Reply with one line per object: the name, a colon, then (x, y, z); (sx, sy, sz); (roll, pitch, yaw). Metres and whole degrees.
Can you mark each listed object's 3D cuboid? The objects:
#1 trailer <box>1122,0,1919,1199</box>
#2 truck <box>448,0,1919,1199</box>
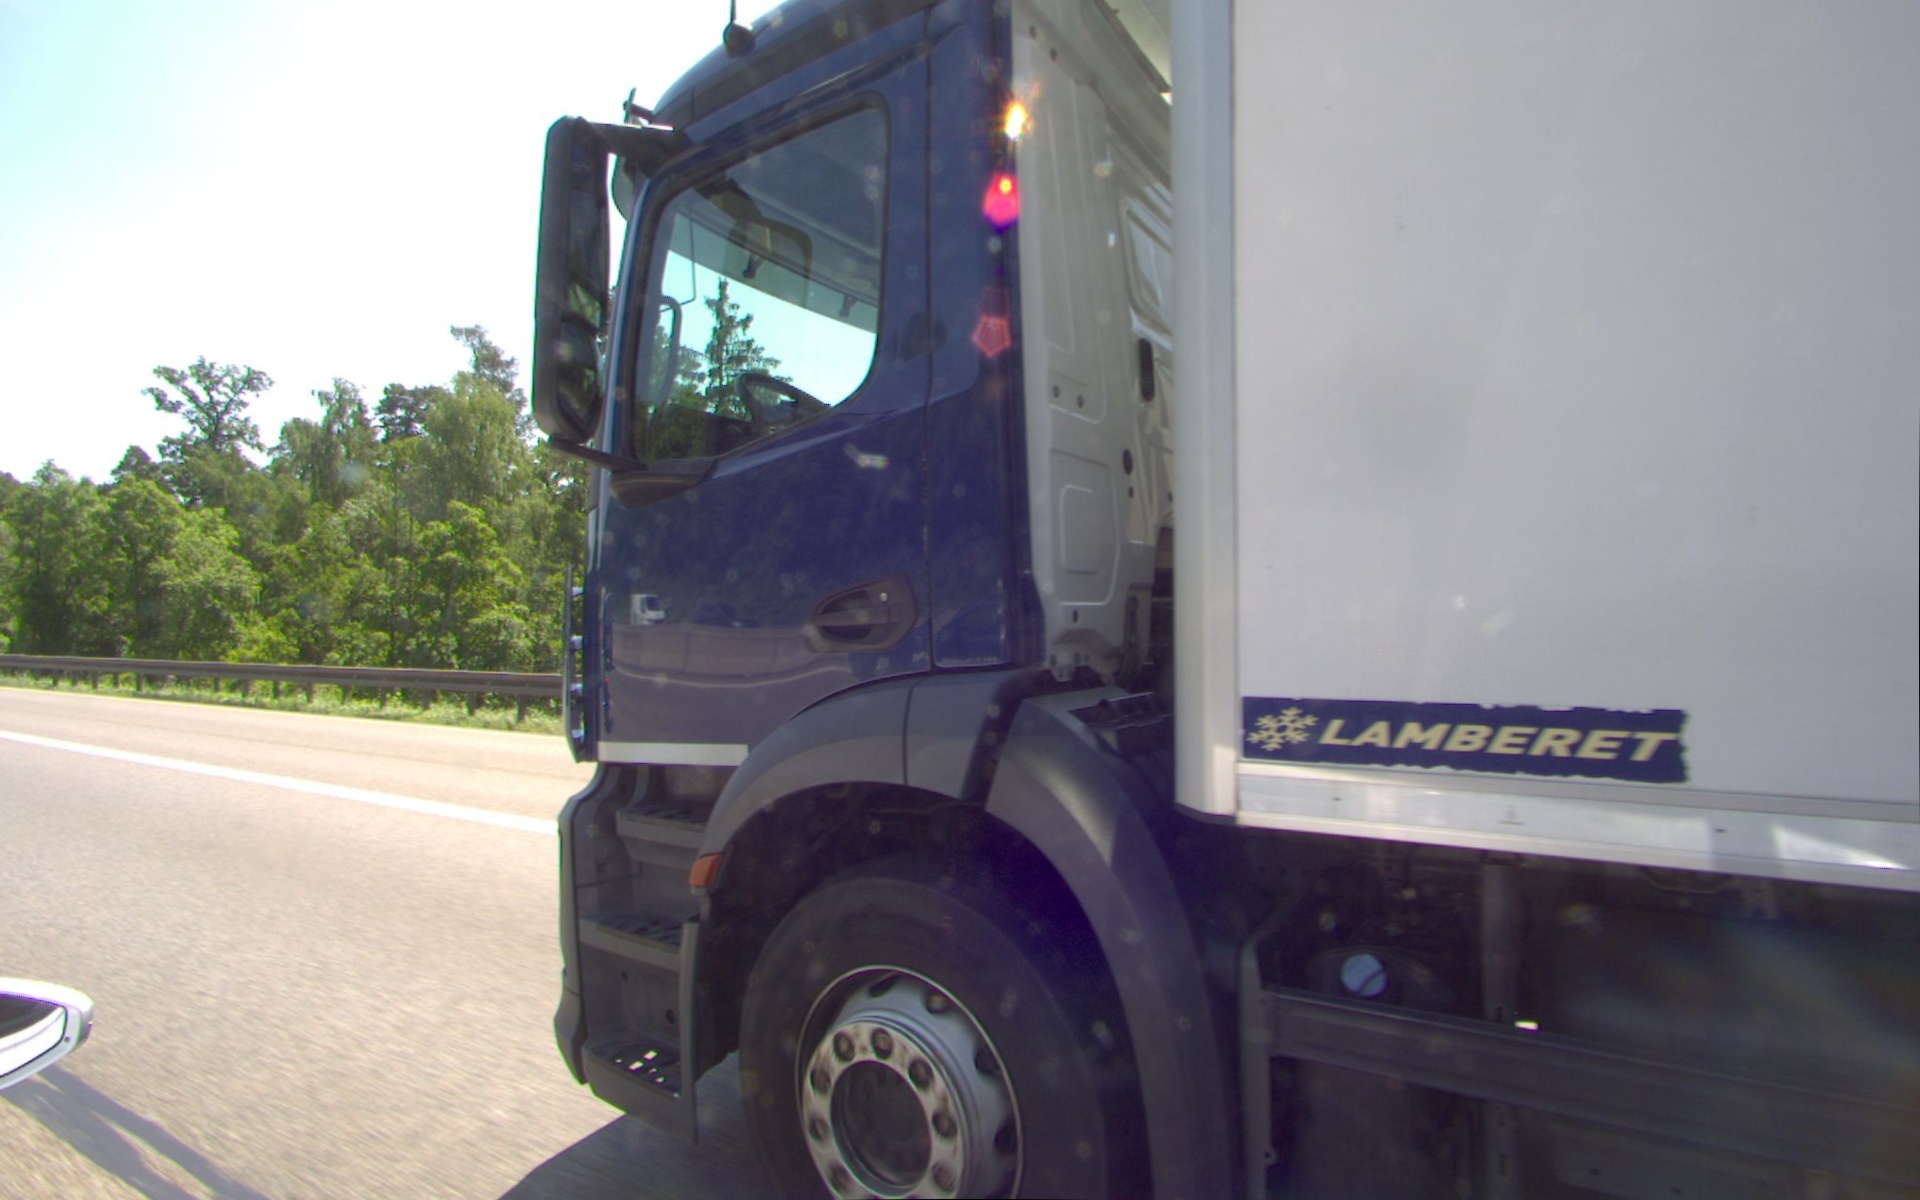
trailer: (4.210, -0.138, 0.623); (7.769, 2.936, 2.551); (-1, -1, 32)
truck: (1.056, -0.060, 2.613); (4.046, 2.979, 2.551); (-1, -1, 32)
